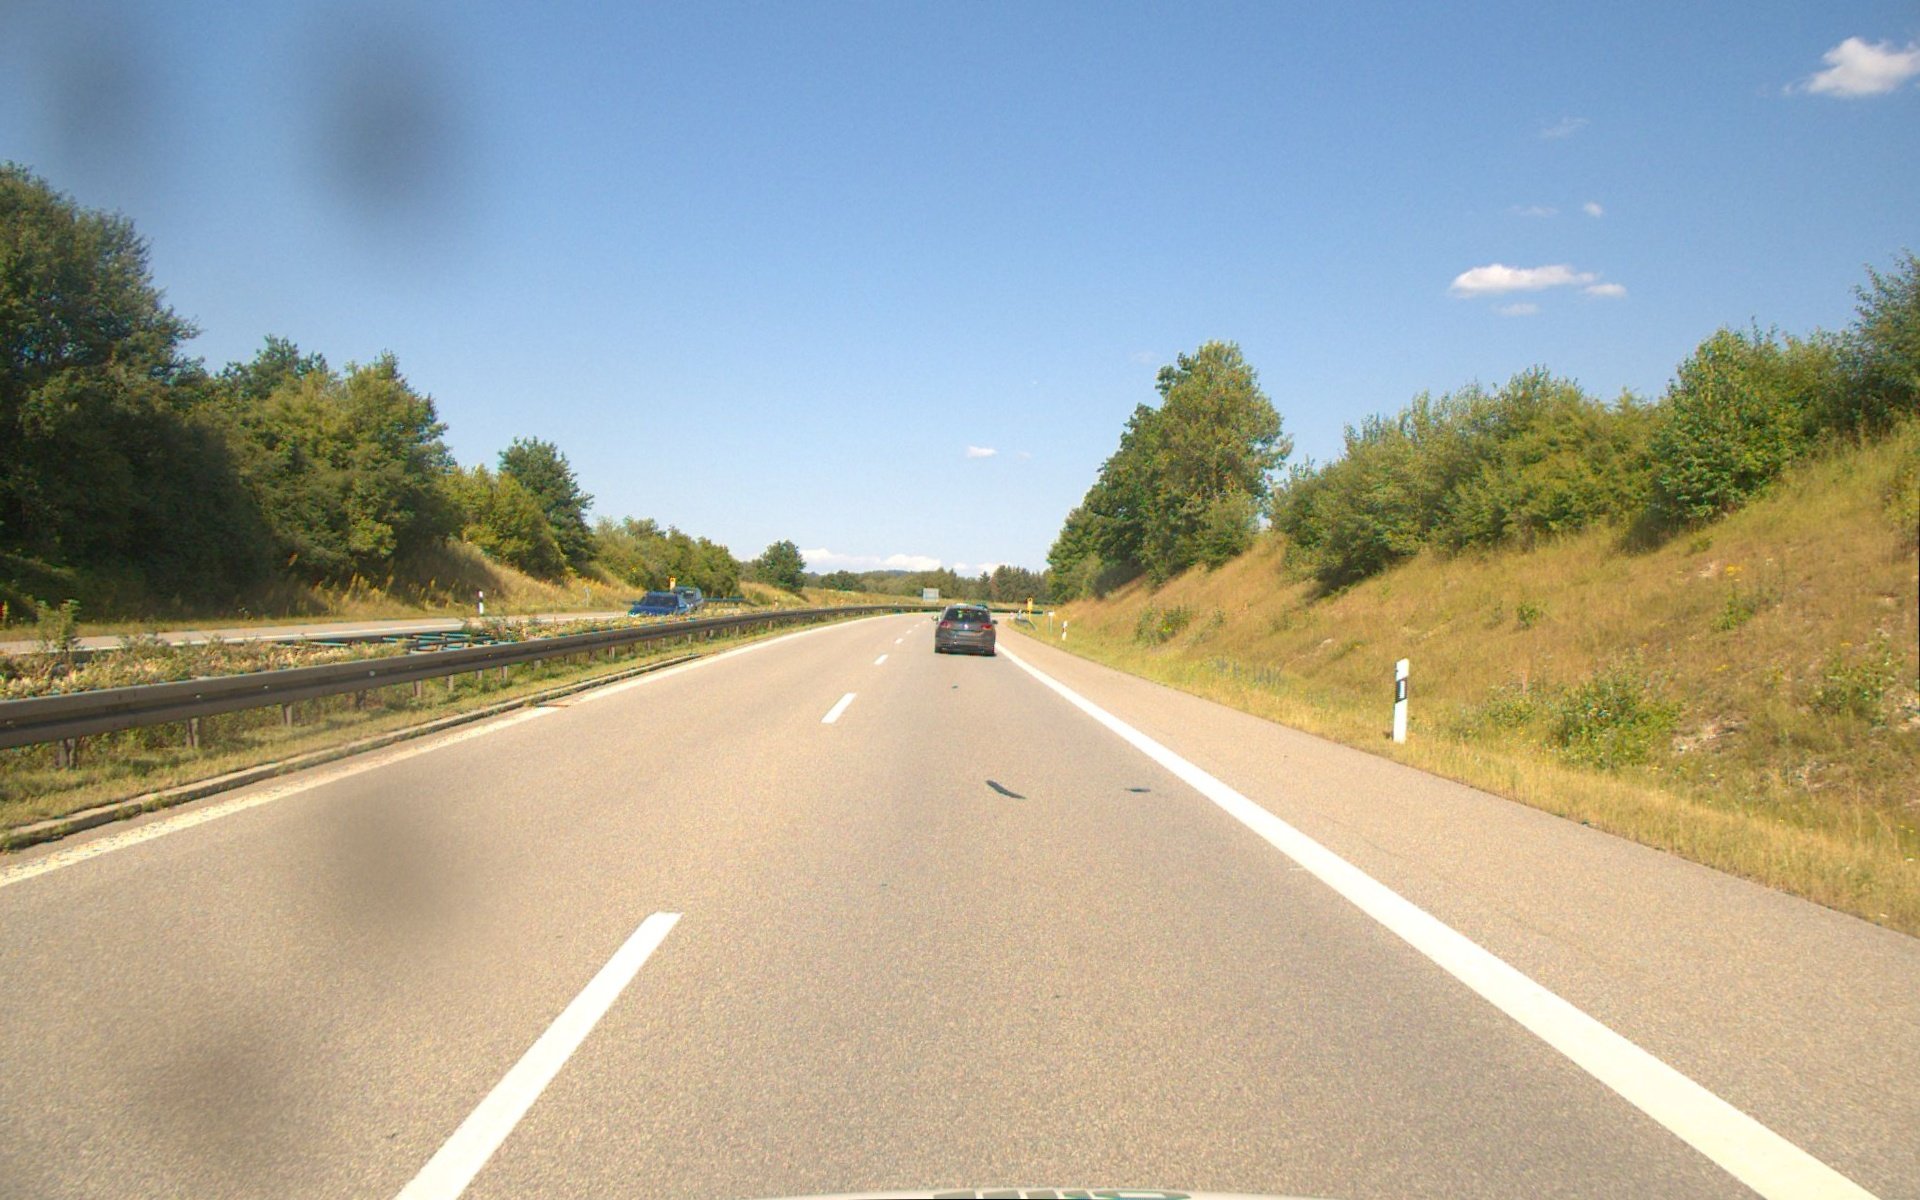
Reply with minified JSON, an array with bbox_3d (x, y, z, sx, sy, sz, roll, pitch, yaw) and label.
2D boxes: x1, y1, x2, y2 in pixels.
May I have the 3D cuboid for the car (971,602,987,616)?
[{"bbox_3d":[2.260,1.067,195.842,1.676,1.411,3.354,5,-1,-1],"label":"car"}]

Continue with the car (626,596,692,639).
[{"bbox_3d":[-10.980,0.624,60.576,1.731,1.520,4.228,0,0,-1],"label":"car"}]

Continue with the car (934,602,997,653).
[{"bbox_3d":[0.150,0.788,49.099,1.754,1.368,4.000,2,0,0],"label":"car"}]
